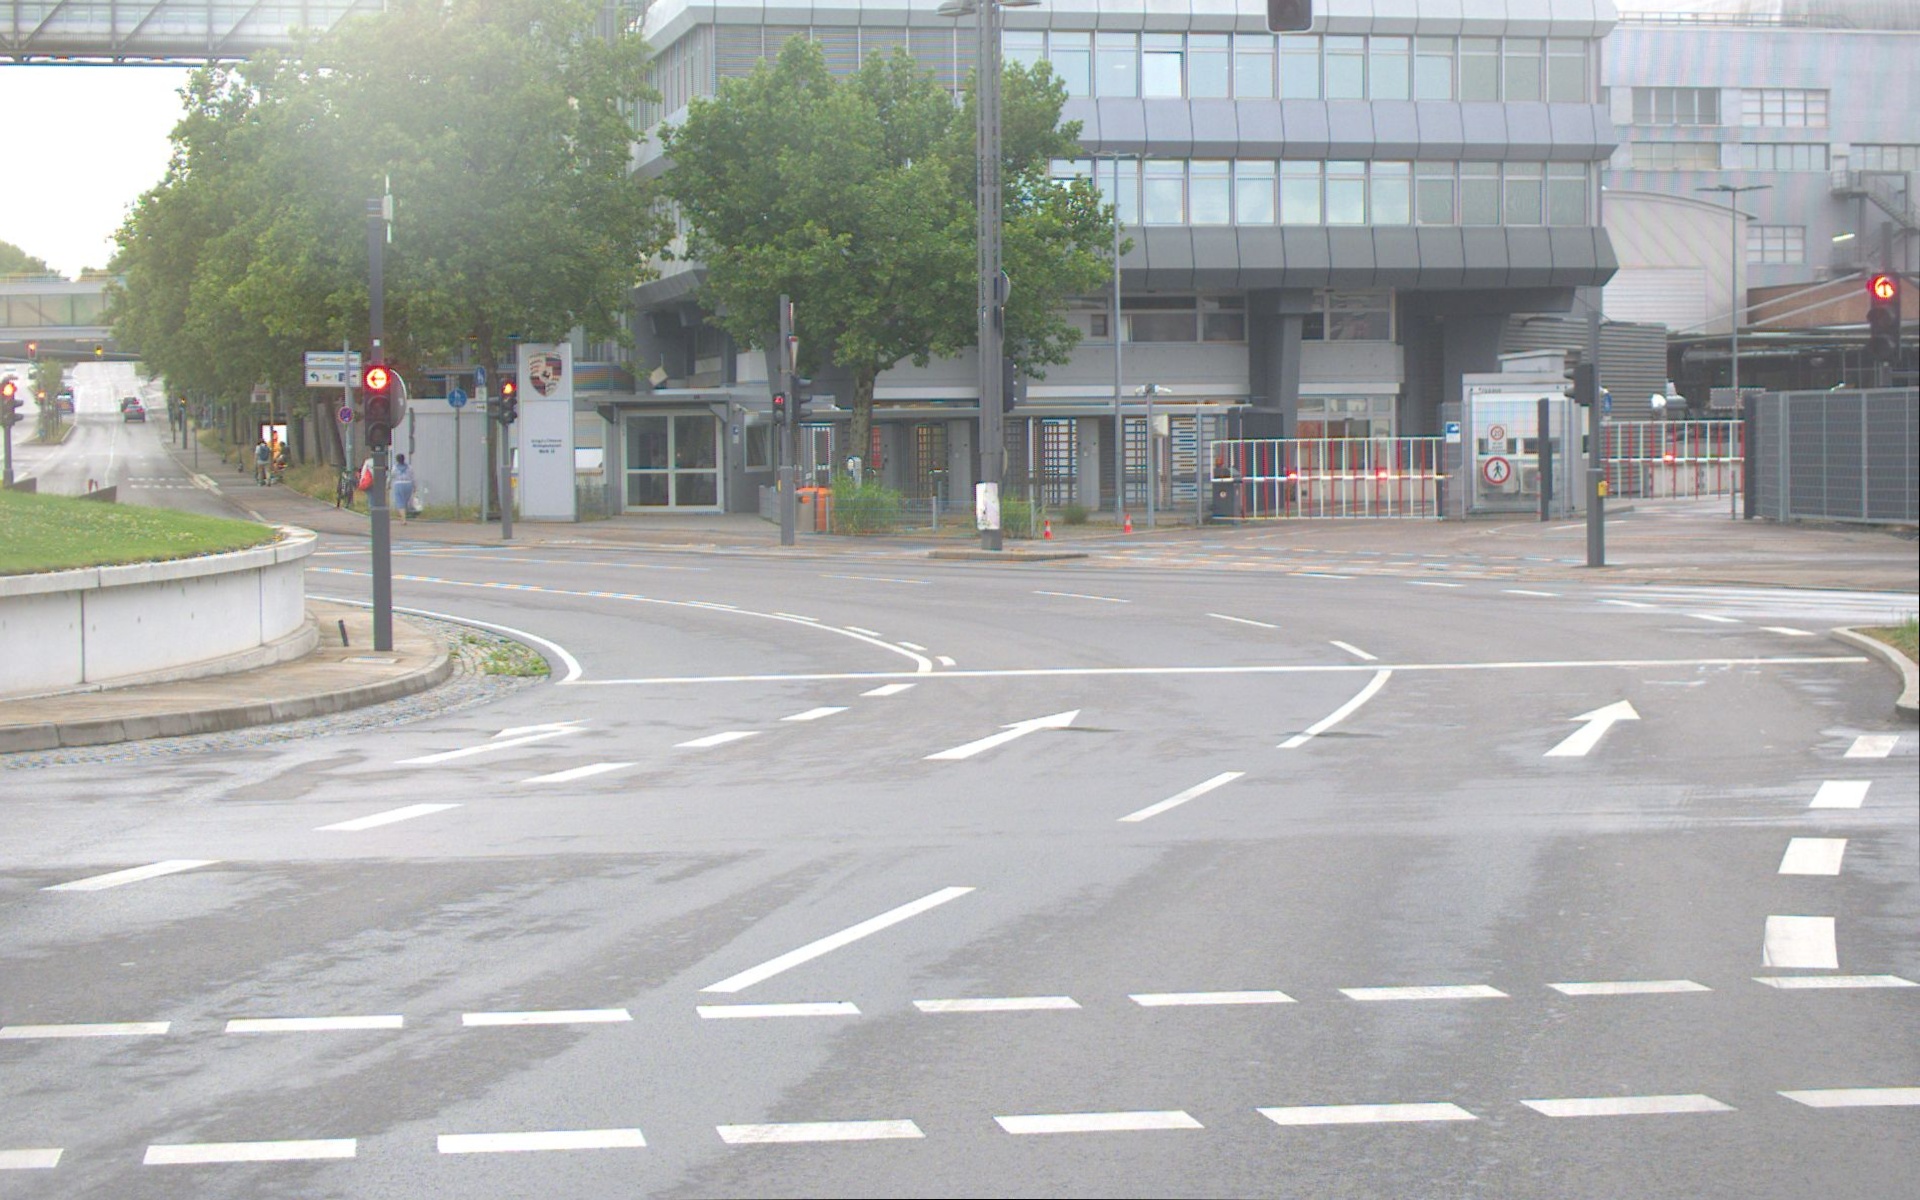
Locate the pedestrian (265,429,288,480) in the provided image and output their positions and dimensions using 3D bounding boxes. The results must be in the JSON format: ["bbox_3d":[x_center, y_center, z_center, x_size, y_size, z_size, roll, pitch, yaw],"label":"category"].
[{"bbox_3d":[-23.572,-5.007,118.524,0.711,1.734,0.760,1,0,-14],"label":"pedestrian"}]

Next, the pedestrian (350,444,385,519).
[{"bbox_3d":[-12.772,-2.564,74.093,0.709,1.586,0.841,-1,3,-9],"label":"pedestrian"}]

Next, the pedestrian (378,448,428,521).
[{"bbox_3d":[-11.883,-2.471,73.381,0.831,1.515,0.842,-2,3,-24],"label":"pedestrian"}]
